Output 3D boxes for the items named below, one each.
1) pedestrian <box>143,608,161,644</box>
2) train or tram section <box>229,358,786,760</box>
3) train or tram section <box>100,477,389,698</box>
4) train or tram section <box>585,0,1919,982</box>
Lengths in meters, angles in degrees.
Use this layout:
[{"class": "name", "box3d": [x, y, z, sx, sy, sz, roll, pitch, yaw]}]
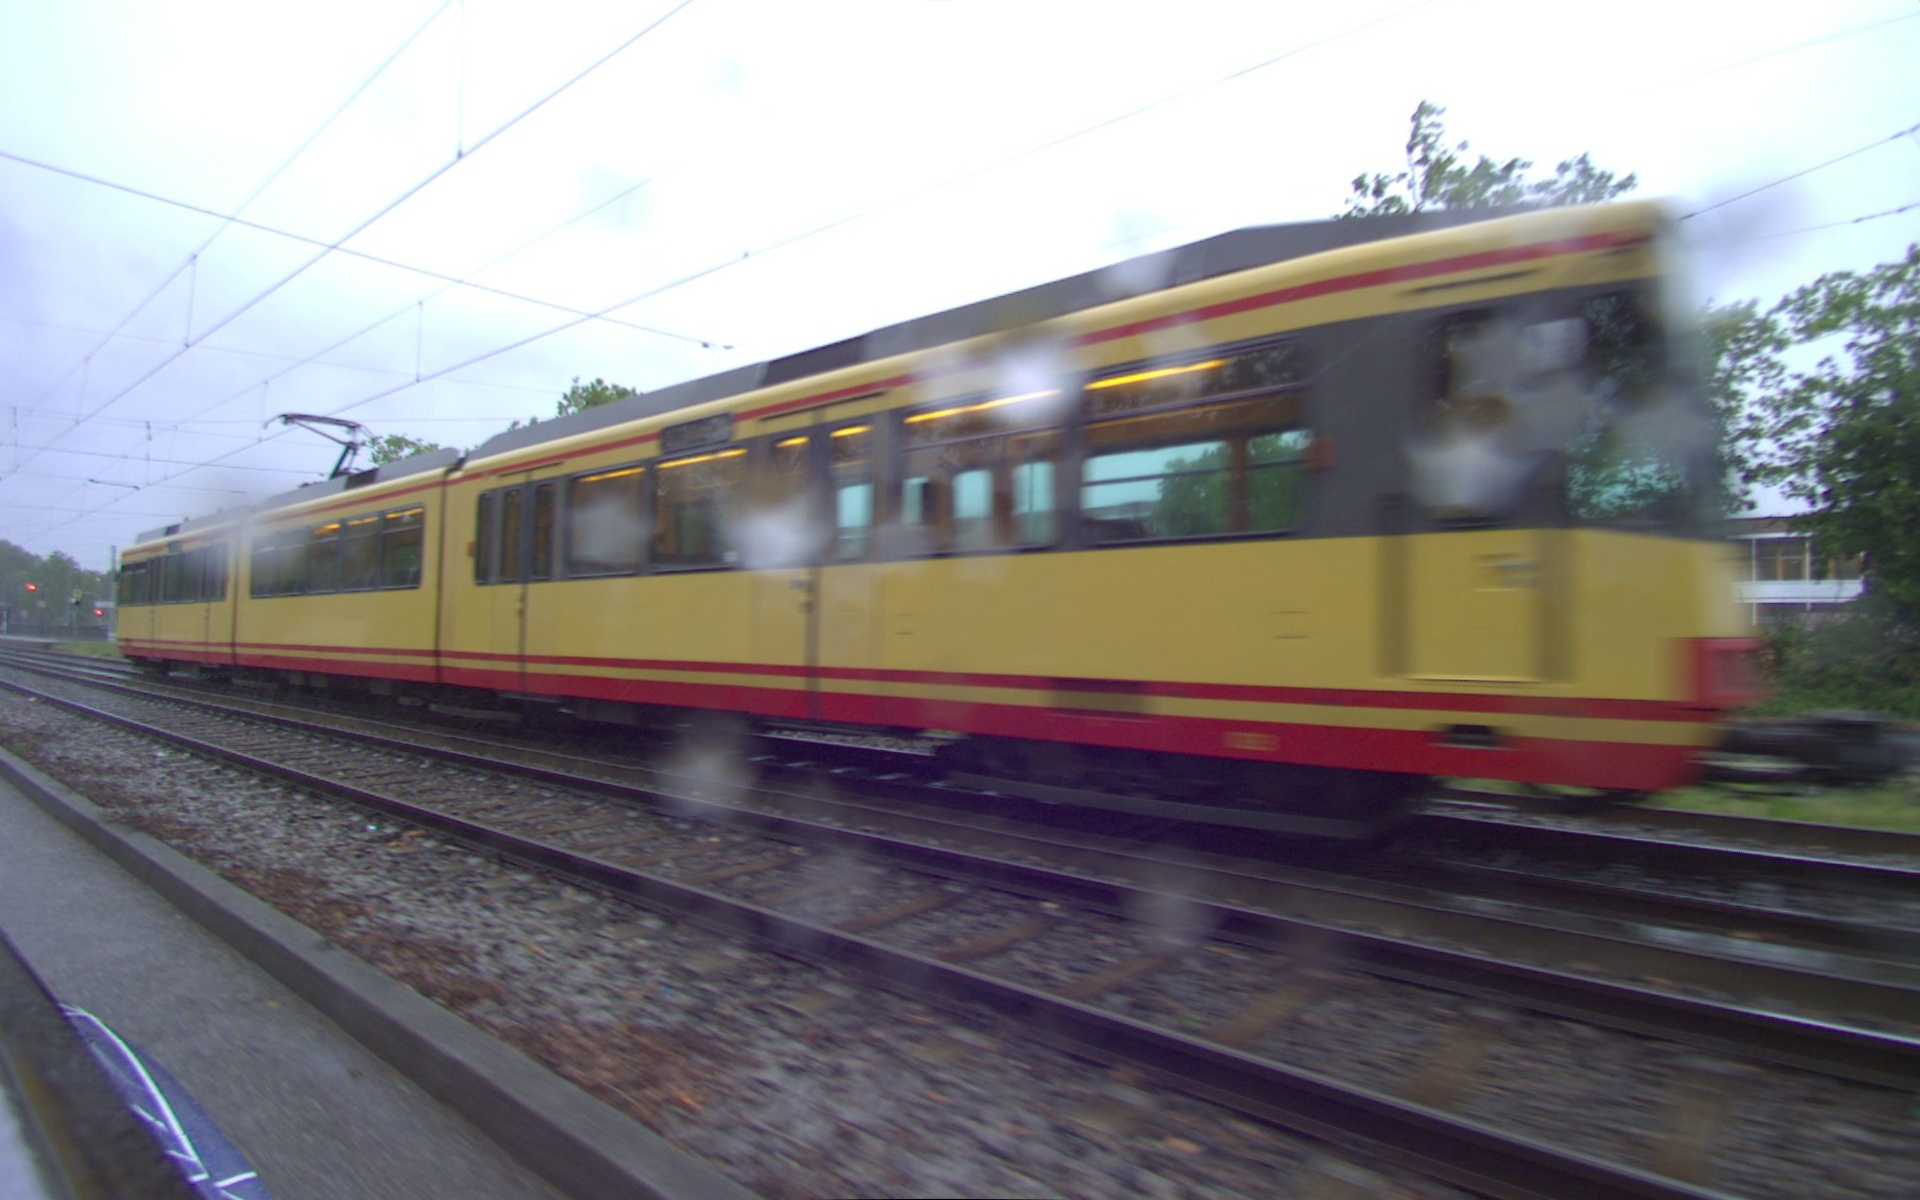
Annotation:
[{"class": "pedestrian", "box3d": [-90.061, 2.886, 112.779, 1.152, 4.059, 1.524, 0, -1, -21]}, {"class": "train or tram section", "box3d": [-7.971, -0.339, 15.865, 13.012, 4.181, 2.777, -1, -1, 41]}, {"class": "train or tram section", "box3d": [-17.776, -0.117, 24.492, 13.013, 4.181, 2.777, -1, -1, 41]}, {"class": "train or tram section", "box3d": [0.889, -0.627, 8.036, 10.265, 4.181, 2.781, -1, -1, 42]}]
